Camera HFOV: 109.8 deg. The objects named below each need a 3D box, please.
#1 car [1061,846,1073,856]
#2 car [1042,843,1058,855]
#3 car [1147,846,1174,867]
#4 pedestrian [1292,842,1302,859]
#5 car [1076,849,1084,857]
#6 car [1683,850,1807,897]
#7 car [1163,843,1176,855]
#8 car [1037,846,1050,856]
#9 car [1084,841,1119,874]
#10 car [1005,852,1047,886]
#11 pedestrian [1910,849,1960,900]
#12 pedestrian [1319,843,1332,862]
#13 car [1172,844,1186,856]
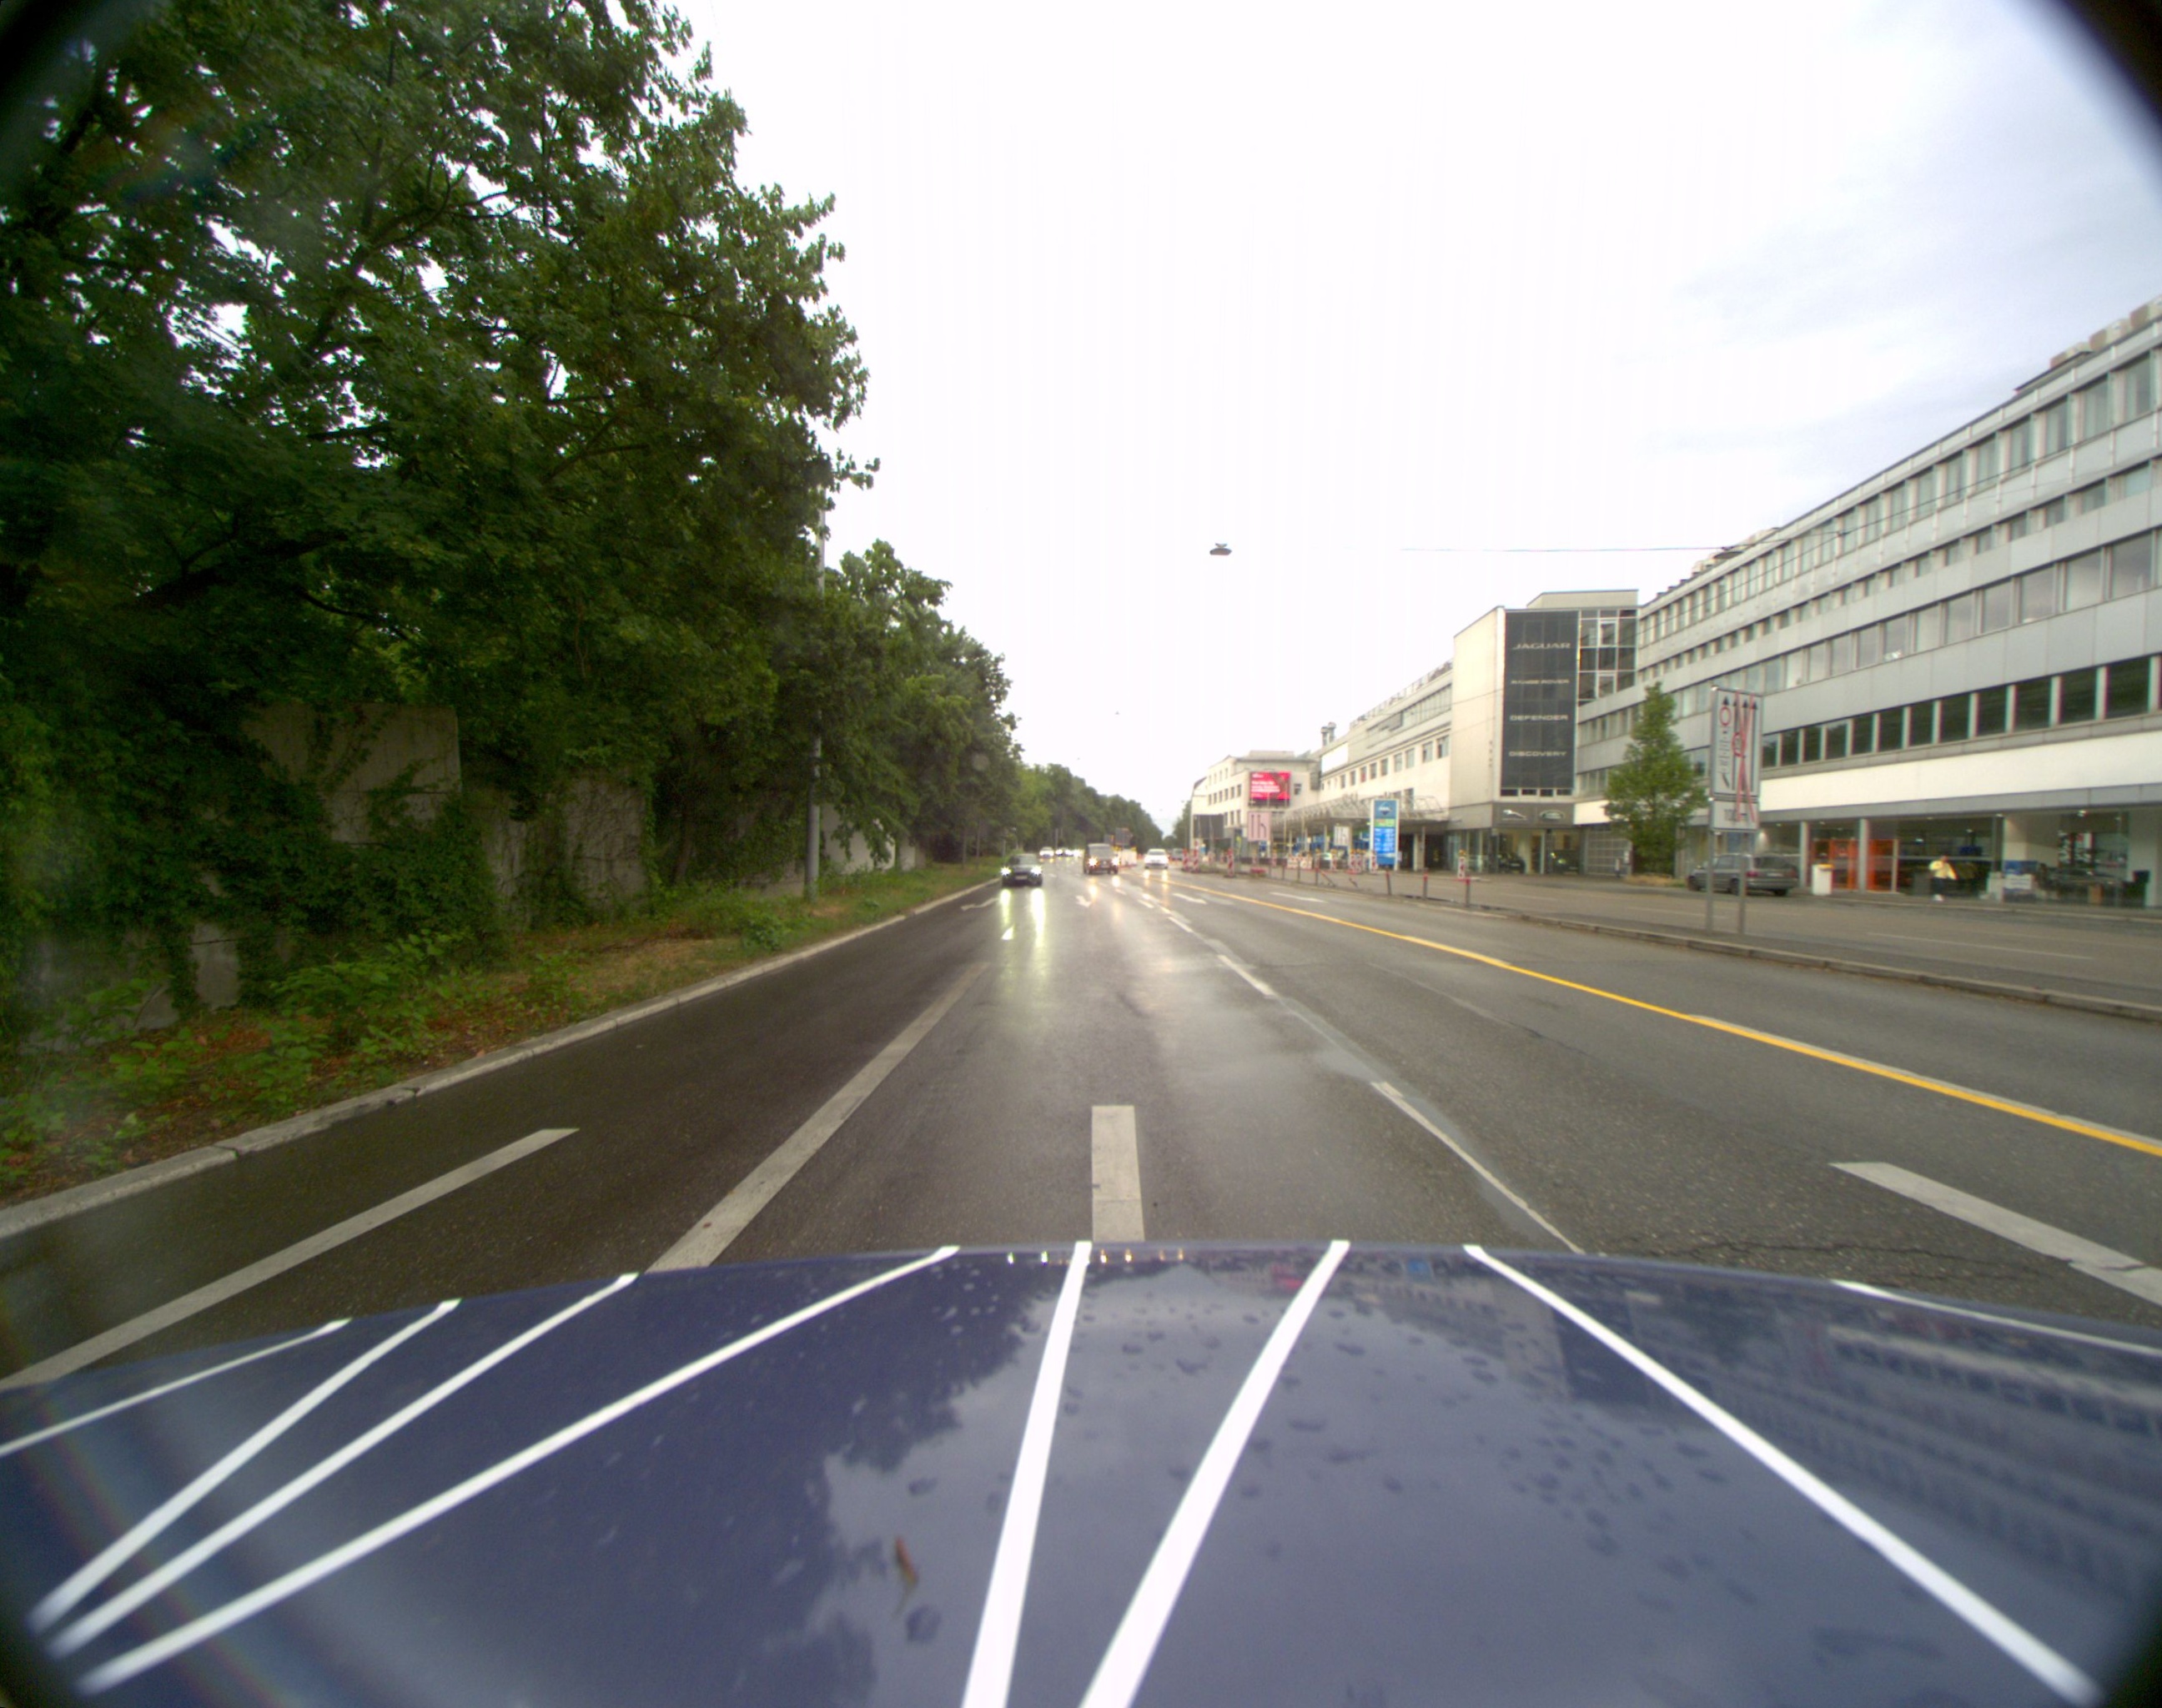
[{"bbox_3d":[-2.244,-0.473,126.374,1.814,1.590,4.332,-2,1,0],"label":"car"},{"bbox_3d":[-4.179,-0.711,102.375,1.814,1.444,4.333,-2,1,2],"label":"car"},{"bbox_3d":[6.079,0.151,57.764,1.770,1.407,4.335,-2,1,8],"label":"car"},{"bbox_3d":[23.491,-0.361,82.659,0.894,1.804,0.942,-2,1,14],"label":"pedestrian"},{"bbox_3d":[-0.290,-0.244,175.100,1.814,1.590,3.995,-2,1,-1],"label":"car"},{"bbox_3d":[28.340,0.768,32.619,1.922,1.805,4.166,-2,1,6],"label":"car"},{"bbox_3d":[14.794,-0.837,126.616,1.798,1.753,3.727,-2,1,2],"label":"car"},{"bbox_3d":[-6.223,-0.447,127.041,1.814,1.590,4.332,-2,1,0],"label":"car"},{"bbox_3d":[1.253,0.173,46.139,1.905,1.804,4.430,-2,1,2],"label":"car"},{"bbox_3d":[-2.536,0.691,35.700,1.753,1.395,4.413,-3,0,-2],"label":"car"},{"bbox_3d":[30.084,0.707,26.777,0.761,1.765,0.864,-2,1,8],"label":"pedestrian"},{"bbox_3d":[23.735,-0.168,73.796,0.895,1.804,0.941,-2,1,5],"label":"pedestrian"},{"bbox_3d":[14.526,-0.609,112.739,1.608,1.635,3.379,-2,1,2],"label":"car"}]
